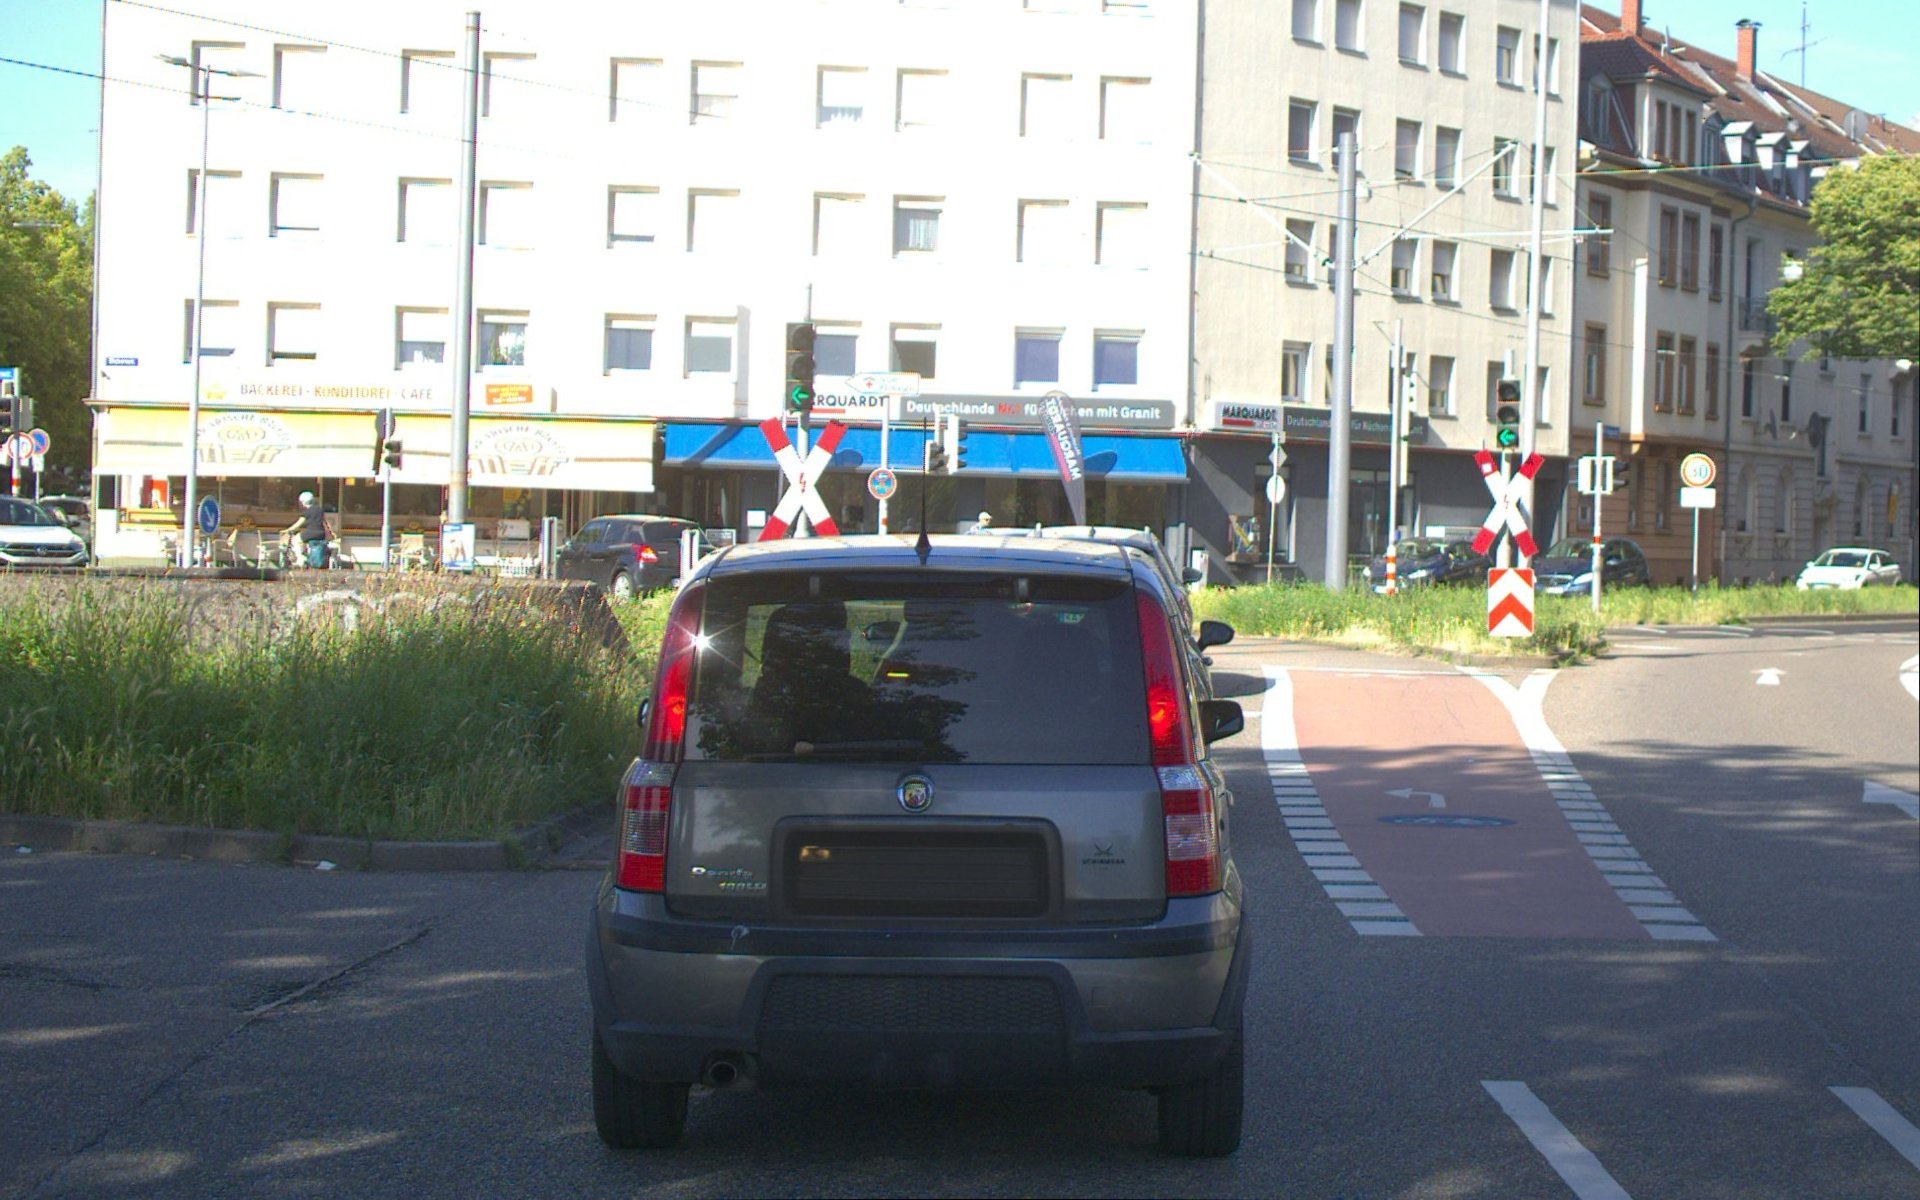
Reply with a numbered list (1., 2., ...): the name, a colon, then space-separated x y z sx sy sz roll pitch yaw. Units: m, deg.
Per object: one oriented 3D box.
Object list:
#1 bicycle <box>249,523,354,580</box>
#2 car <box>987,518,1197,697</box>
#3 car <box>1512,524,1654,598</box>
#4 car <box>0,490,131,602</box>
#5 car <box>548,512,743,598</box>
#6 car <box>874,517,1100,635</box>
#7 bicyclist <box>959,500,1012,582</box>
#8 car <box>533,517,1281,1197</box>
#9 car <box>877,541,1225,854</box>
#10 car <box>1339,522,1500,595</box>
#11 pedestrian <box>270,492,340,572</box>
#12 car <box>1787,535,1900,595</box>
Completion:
1. bicycle: -12.118 -0.893 63.257 1.854 0.948 0.784 3 0 34
2. car: 1.259 0.013 31.660 1.760 1.481 4.293 2 1 3
3. car: 14.061 -0.875 77.457 1.794 1.560 3.759 3 2 33
4. car: -14.102 -0.847 51.129 1.994 1.557 4.387 1 2 -34
5. car: -5.072 -0.732 55.108 1.690 1.249 3.626 1 1 -30
6. car: 0.316 -0.338 45.556 1.645 1.433 3.397 1 2 -25
7. bicyclist: 0.495 -1.134 65.848 0.822 1.553 0.561 2 1 22
8. car: -0.145 0.548 9.452 1.660 1.505 3.252 2 1 -1
9. car: 0.534 0.431 18.253 1.621 1.424 3.688 2 1 3
10. car: 9.375 -0.844 69.988 1.794 1.391 3.718 3 2 33
11. pedestrian: -12.046 -1.251 63.214 0.937 1.423 0.774 3 0 34
12. car: 23.206 -0.915 90.238 1.794 1.477 3.525 3 2 33
